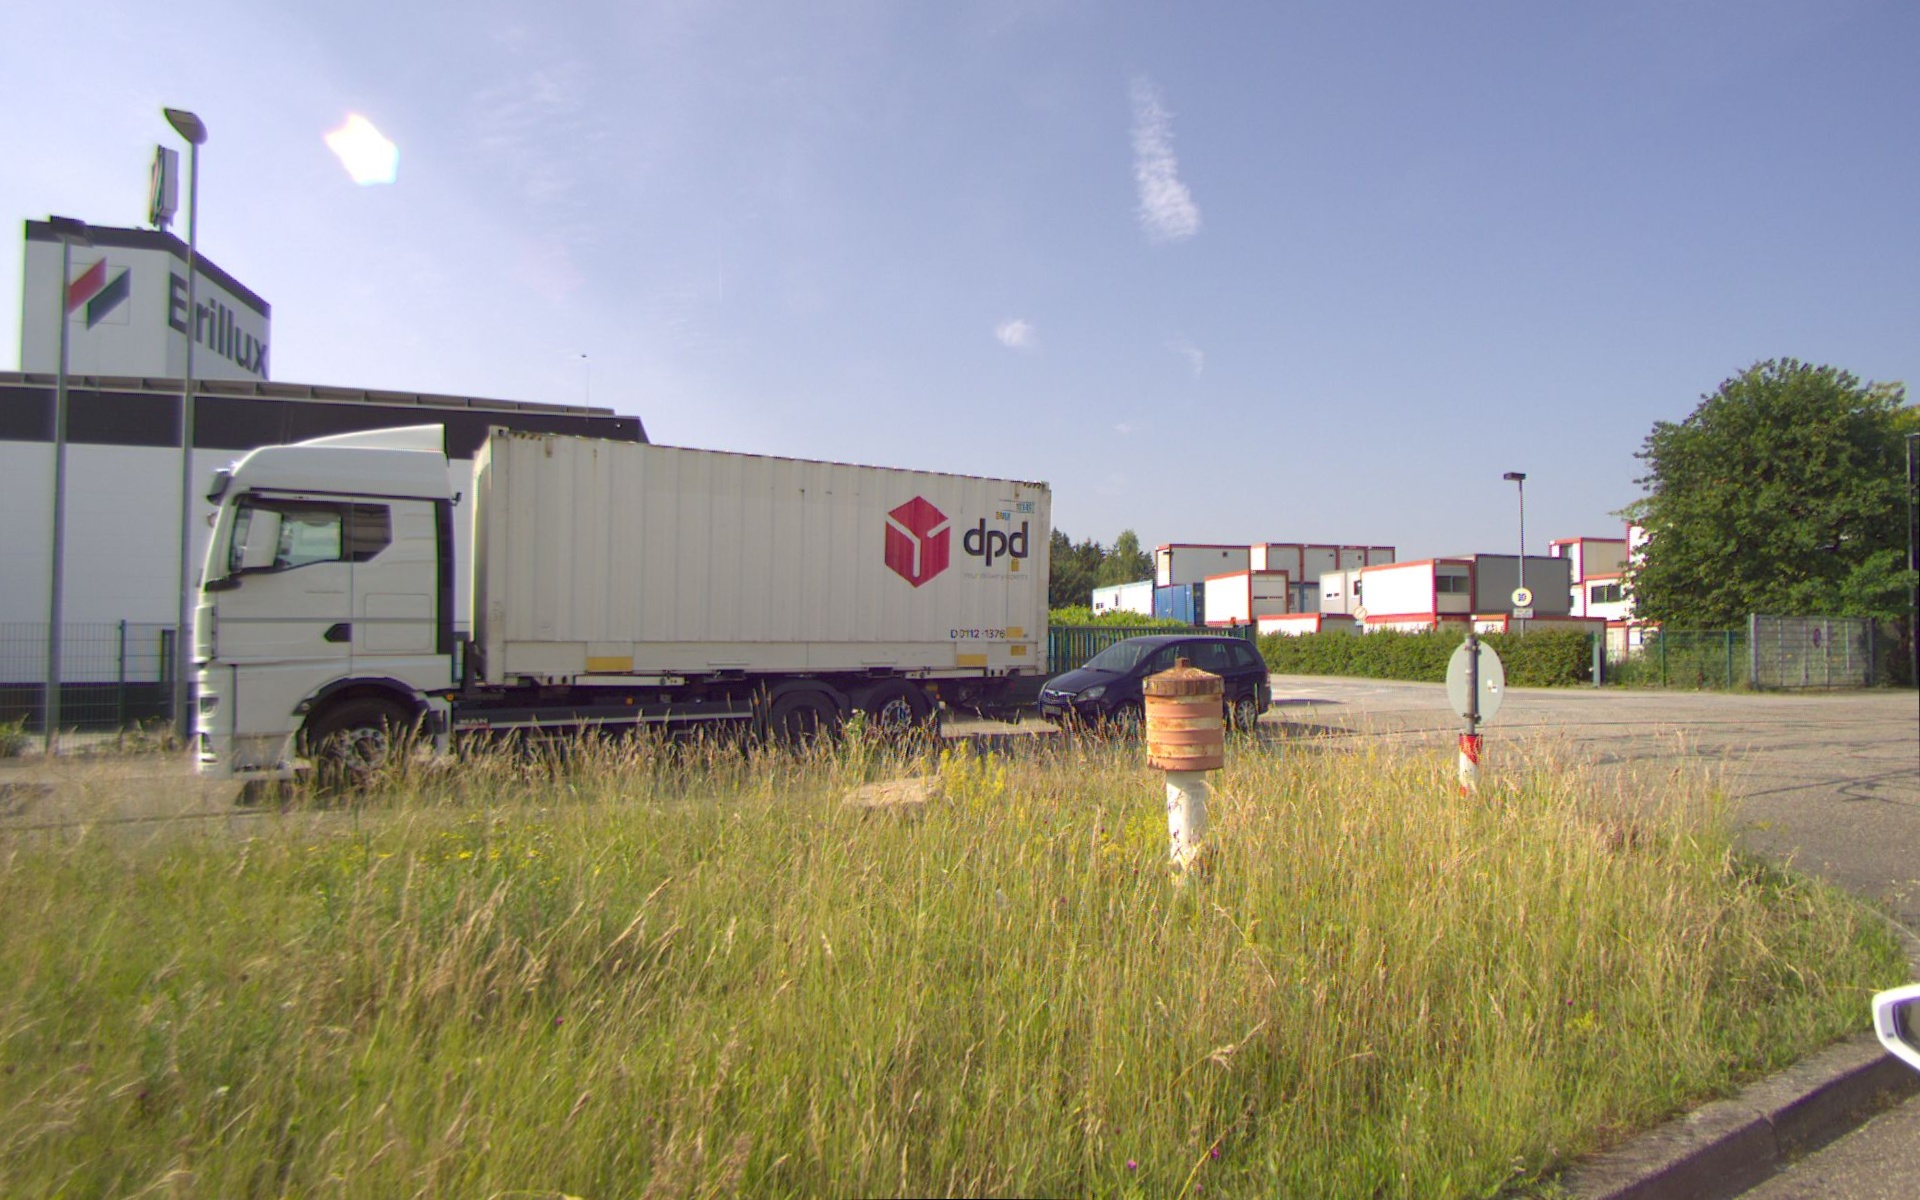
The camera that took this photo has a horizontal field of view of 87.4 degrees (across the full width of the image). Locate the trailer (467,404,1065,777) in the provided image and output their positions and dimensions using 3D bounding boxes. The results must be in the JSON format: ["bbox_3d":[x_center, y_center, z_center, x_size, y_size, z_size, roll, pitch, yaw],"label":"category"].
[{"bbox_3d":[-2.427,0.058,13.764,7.488,3.973,2.686,3,-1,-31],"label":"trailer"}]

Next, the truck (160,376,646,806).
[{"bbox_3d":[-6.144,0.003,11.540,4.247,3.973,2.696,3,-1,-30],"label":"truck"}]

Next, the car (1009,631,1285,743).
[{"bbox_3d":[3.271,1.398,17.290,4.537,1.662,1.983,2,-1,-32],"label":"car"}]
